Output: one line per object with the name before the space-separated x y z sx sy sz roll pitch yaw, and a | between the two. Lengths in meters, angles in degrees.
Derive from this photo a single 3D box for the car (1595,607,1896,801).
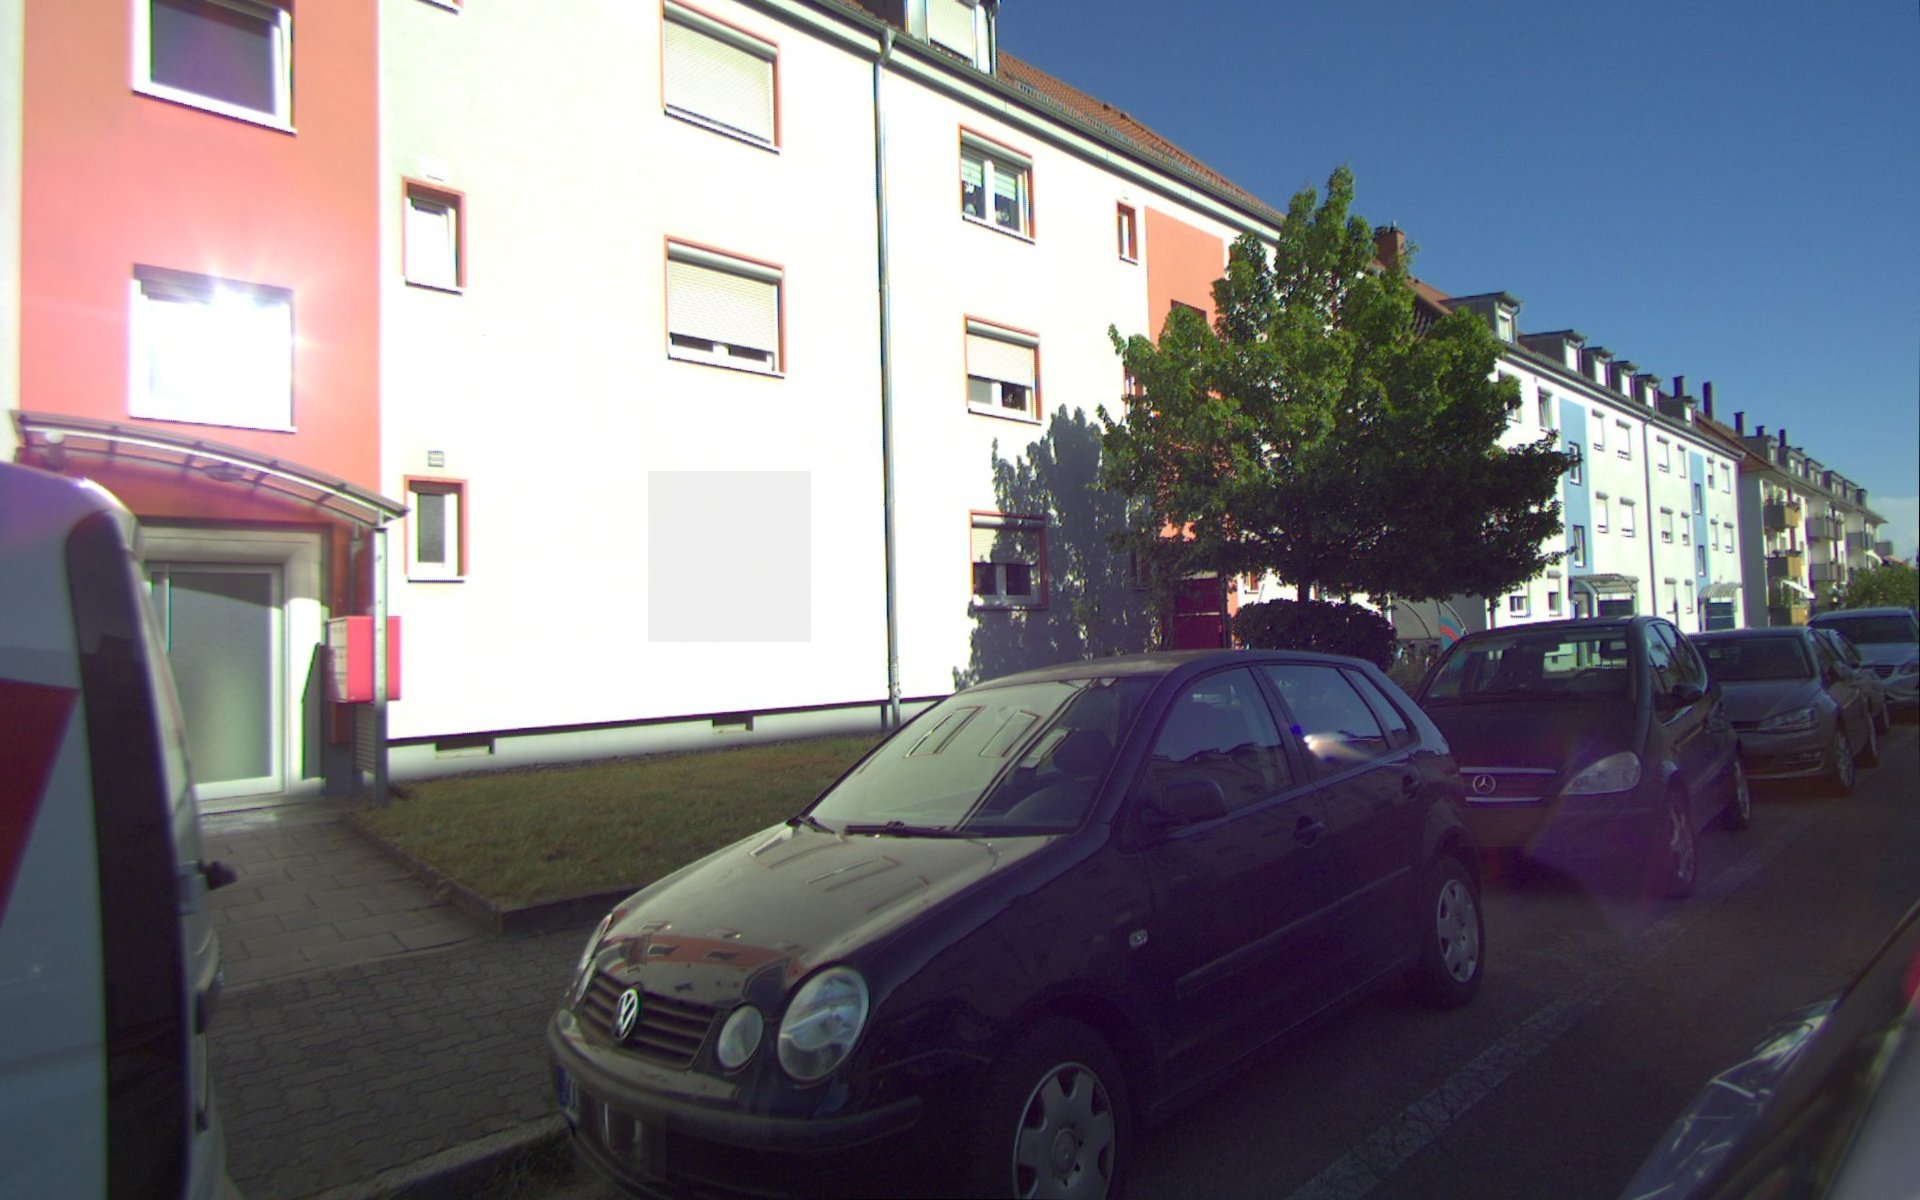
car | 7.601 0.885 9.661 3.885 1.469 1.629 2 -5 -44

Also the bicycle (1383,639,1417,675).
bicycle | 12.316 1.584 28.311 1.260 0.958 0.319 0 -1 -40

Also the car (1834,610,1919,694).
car | 18.166 0.949 19.387 3.791 1.468 1.618 1 -5 -43

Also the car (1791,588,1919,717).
car | 14.334 0.766 15.578 4.236 1.742 1.775 1 -6 -44

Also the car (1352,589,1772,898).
car | 4.321 0.821 7.036 1.616 1.571 3.553 -8 -6 44

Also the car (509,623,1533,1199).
car | 0.552 0.894 3.731 3.724 1.436 1.573 0 -7 -44

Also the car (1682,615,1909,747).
car | 10.536 0.920 12.694 3.428 1.412 1.630 1 -3 -41

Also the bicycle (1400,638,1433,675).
bicycle | 12.580 1.552 27.879 1.260 0.958 0.319 0 -1 -40

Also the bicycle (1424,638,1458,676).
bicycle | 12.980 1.530 27.308 1.260 0.958 0.319 0 -1 -40

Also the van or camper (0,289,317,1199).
van or camper | -3.012 0.628 0.215 4.653 1.770 1.794 0 -3 -42

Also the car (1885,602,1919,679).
car | 22.360 0.863 22.833 4.347 1.627 1.729 0 -3 -42
